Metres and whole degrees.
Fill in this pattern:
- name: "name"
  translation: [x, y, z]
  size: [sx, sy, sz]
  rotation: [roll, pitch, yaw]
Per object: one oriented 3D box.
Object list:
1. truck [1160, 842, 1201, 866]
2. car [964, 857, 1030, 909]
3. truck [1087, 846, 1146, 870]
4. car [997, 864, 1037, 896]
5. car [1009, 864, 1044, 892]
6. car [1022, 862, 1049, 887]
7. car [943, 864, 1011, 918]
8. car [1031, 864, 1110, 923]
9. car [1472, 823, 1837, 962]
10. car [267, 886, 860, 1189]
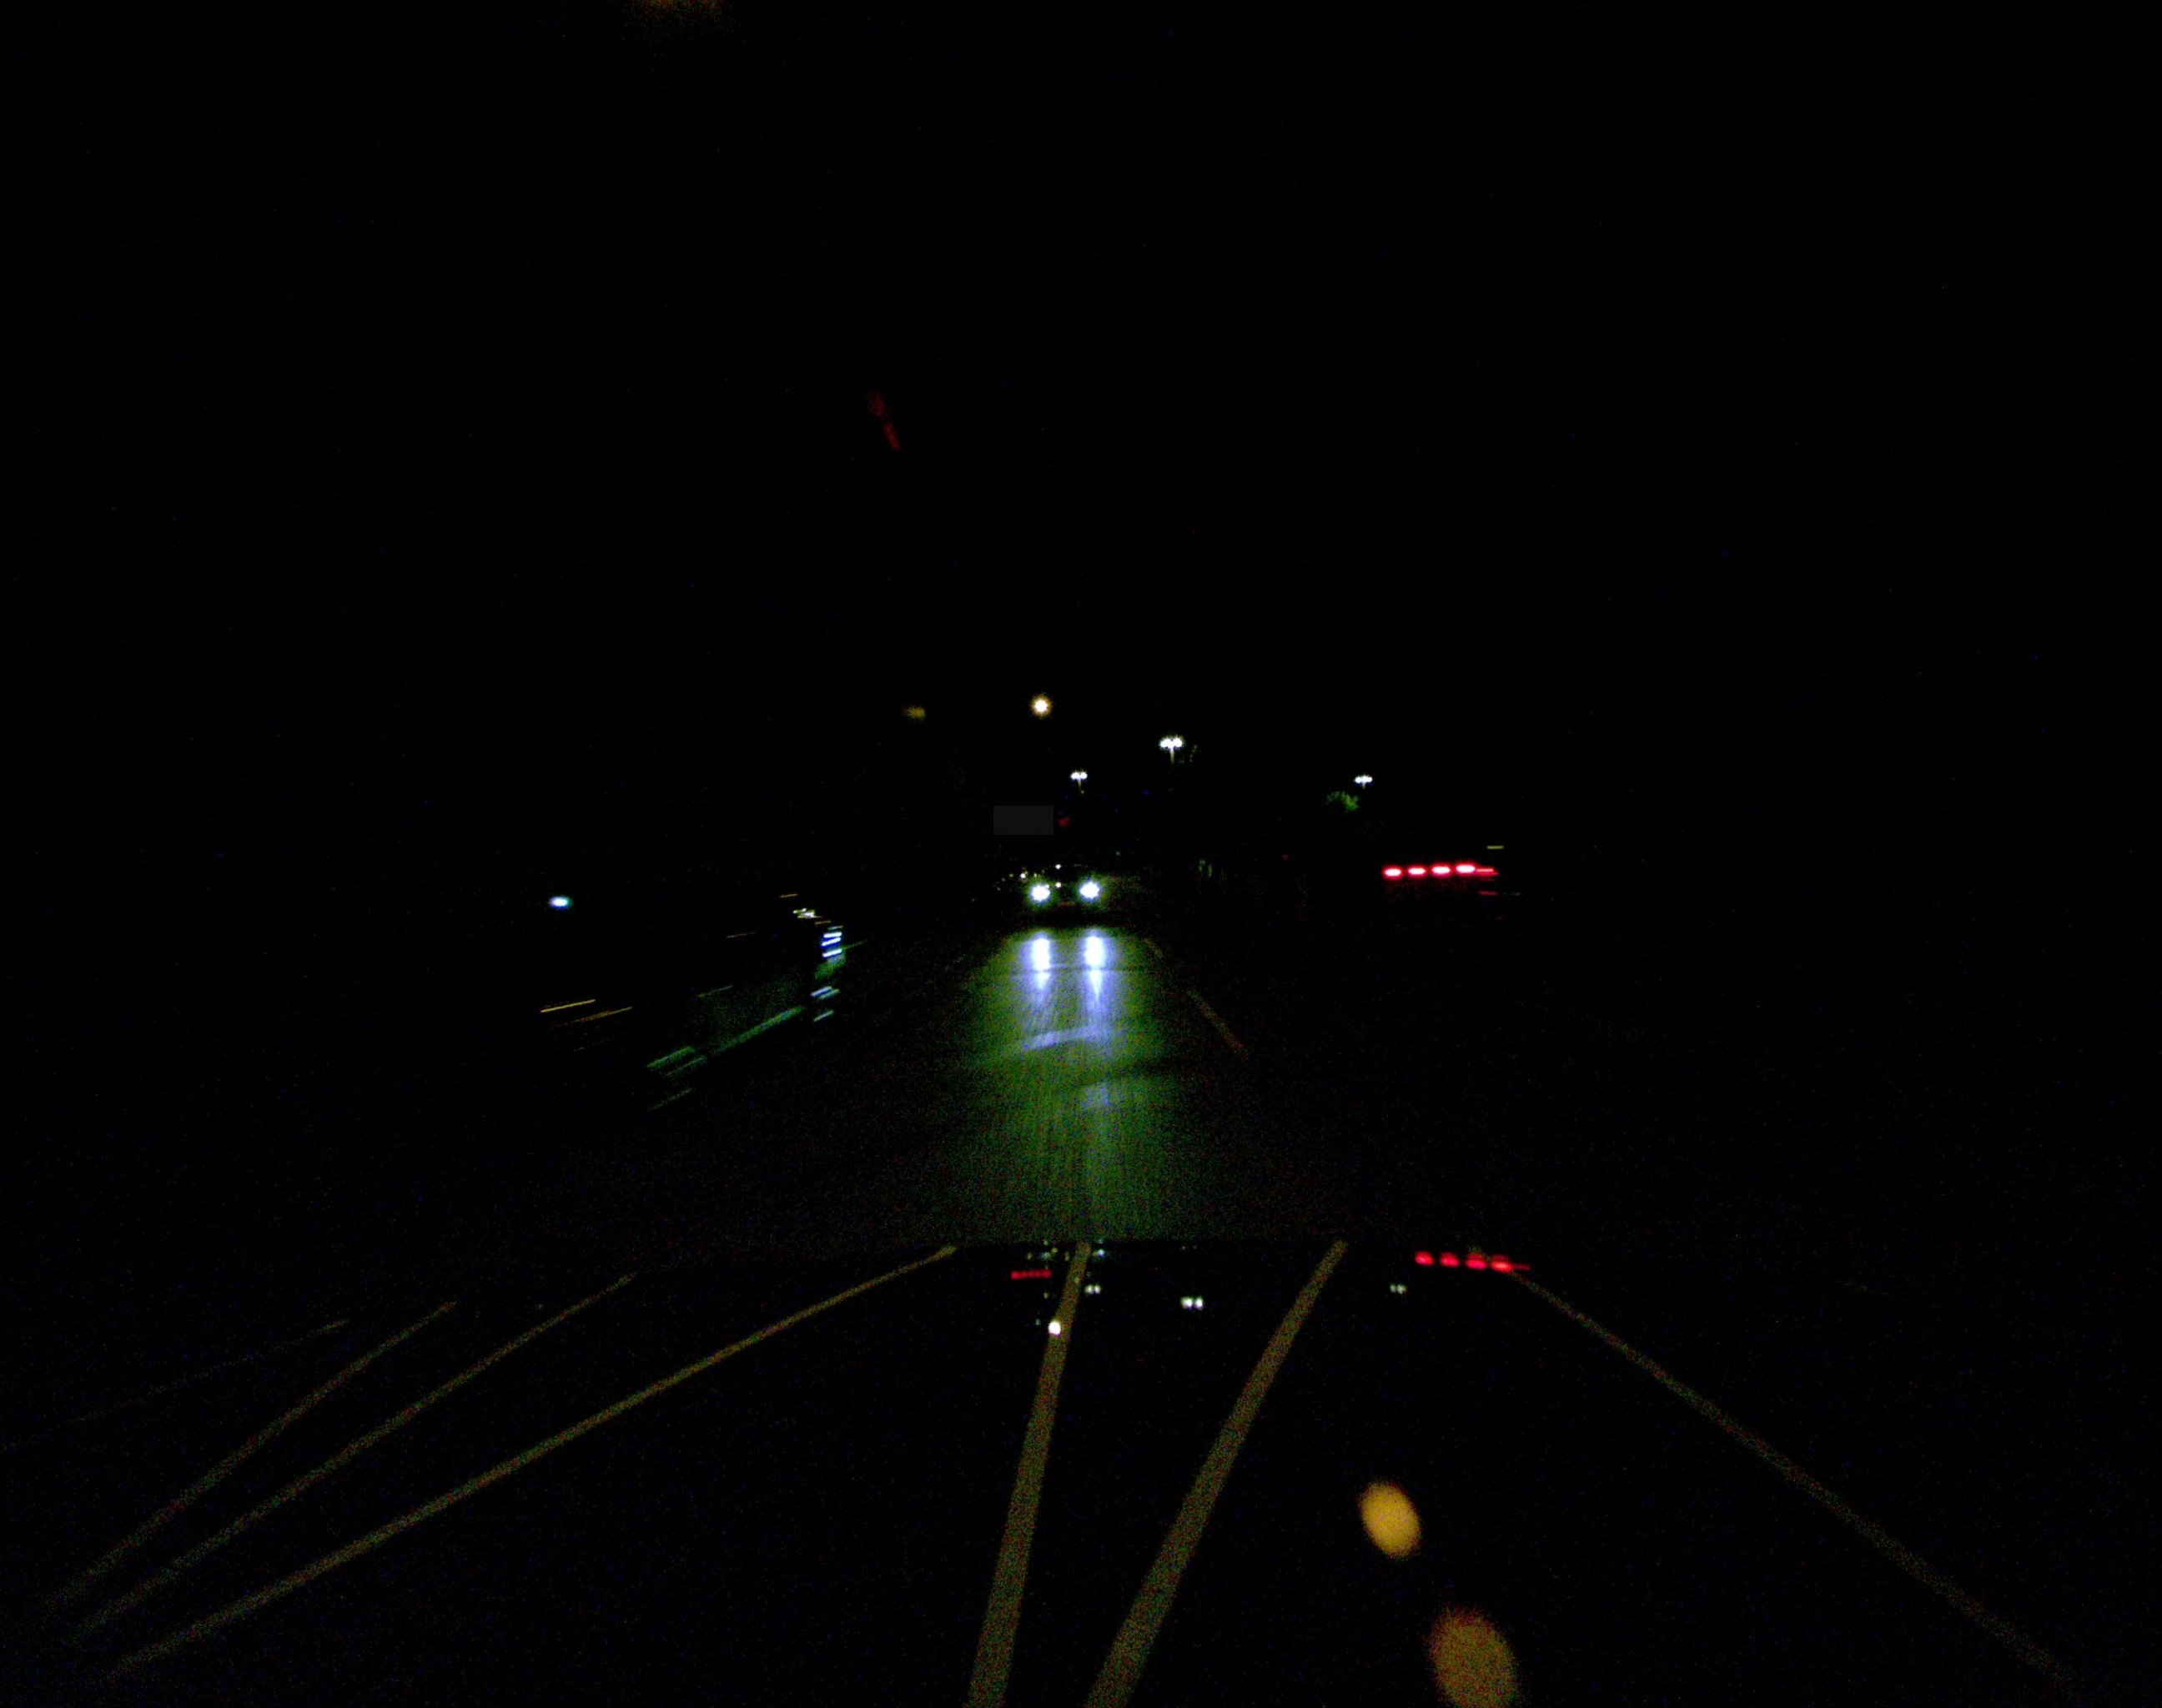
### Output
- name: "truck"
  translation: [15.976, -0.030, 121.604]
  size: [6.196, 3.672, 2.404]
  rotation: [-2, 0, 13]
- name: "car"
  translation: [-3.317, 1.080, 31.047]
  size: [2.077, 1.917, 5.370]
  rotation: [0, 0, 0]
- name: "truck"
  translation: [5.815, 0.602, 123.722]
  size: [9.340, 3.700, 2.002]
  rotation: [-1, 1, 16]
- name: "car"
  translation: [-3.322, 1.331, 39.857]
  size: [1.748, 1.556, 4.210]
  rotation: [0, 0, 0]
- name: "car"
  translation: [-3.196, 1.389, 45.070]
  size: [1.748, 1.500, 4.833]
  rotation: [0, 0, 0]
- name: "car"
  translation: [-3.318, 1.482, 55.580]
  size: [1.748, 1.673, 4.258]
  rotation: [0, 0, 0]
- name: "car"
  translation: [-3.442, 1.186, 25.788]
  size: [1.824, 1.589, 4.219]
  rotation: [1, 0, -2]
- name: "car"
  translation: [-0.223, 1.132, 23.091]
  size: [1.998, 1.606, 4.002]
  rotation: [-1, 0, 4]
- name: "car"
  translation: [8.436, 0.570, 11.605]
  size: [3.993, 1.878, 1.911]
  rotation: [-2, 0, 13]
- name: "car"
  translation: [-3.469, 1.099, 6.372]
  size: [1.783, 1.418, 4.481]
  rotation: [-2, 0, 1]
